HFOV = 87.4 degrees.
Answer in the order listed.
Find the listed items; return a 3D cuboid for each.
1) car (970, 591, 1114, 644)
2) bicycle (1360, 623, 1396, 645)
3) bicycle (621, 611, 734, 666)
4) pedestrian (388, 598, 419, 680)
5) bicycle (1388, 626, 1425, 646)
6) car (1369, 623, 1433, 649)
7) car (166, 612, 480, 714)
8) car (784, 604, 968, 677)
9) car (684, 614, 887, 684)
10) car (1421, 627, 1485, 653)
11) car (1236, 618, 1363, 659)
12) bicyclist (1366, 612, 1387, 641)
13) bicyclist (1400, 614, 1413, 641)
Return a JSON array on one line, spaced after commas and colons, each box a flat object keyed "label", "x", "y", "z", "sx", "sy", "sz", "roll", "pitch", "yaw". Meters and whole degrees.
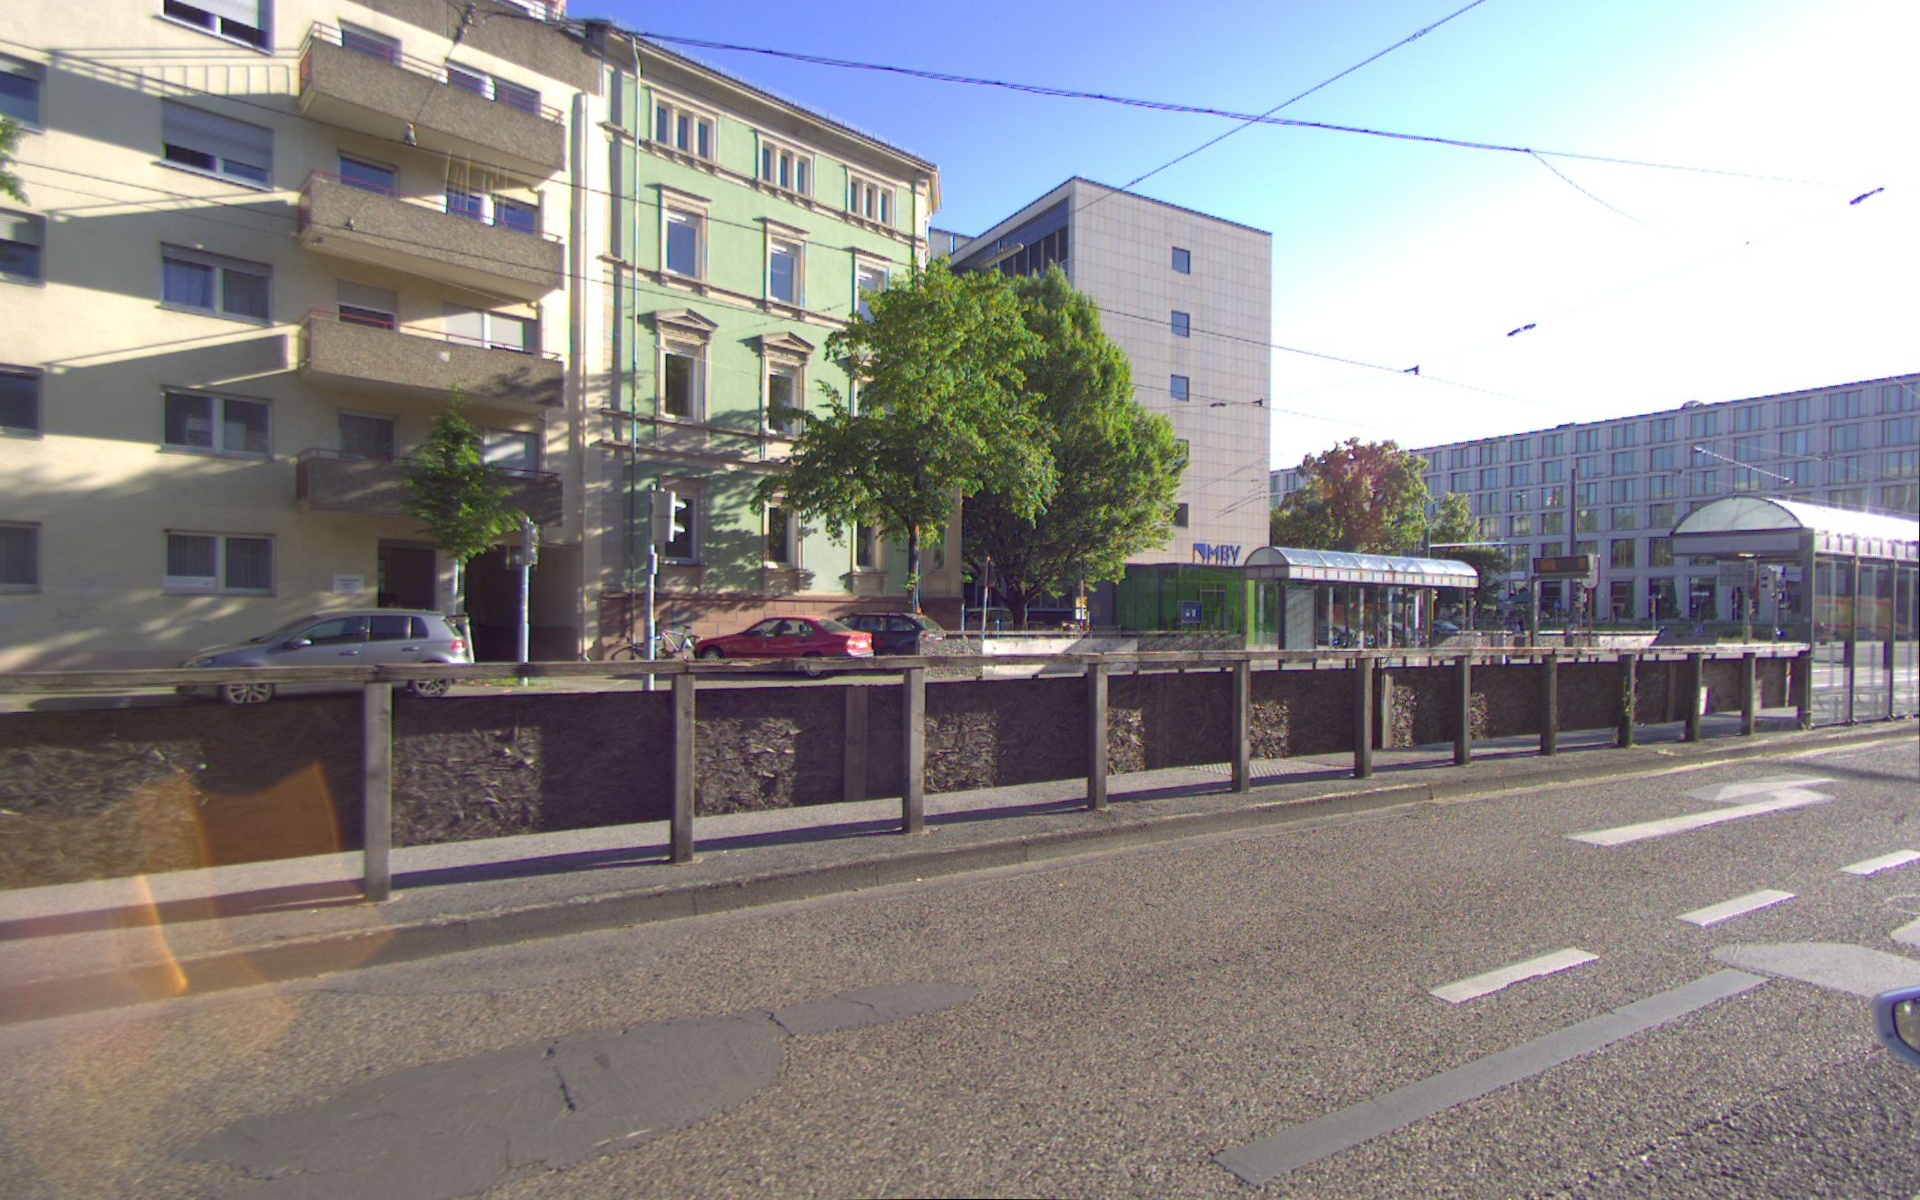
[{"label": "car", "x": 2.679, "y": 0.558, "z": 33.095, "sx": 4.432, "sy": 1.590, "sz": 1.588, "roll": 1, "pitch": 0, "yaw": 28}, {"label": "bicycle", "x": 25.778, "y": 2.109, "z": 61.952, "sx": 0.874, "sy": 1.305, "sz": 2.042, "roll": 0, "pitch": -1, "yaw": -24}, {"label": "bicycle", "x": -7.645, "y": 1.011, "z": 27.344, "sx": 0.709, "sy": 1.416, "sz": 2.991, "roll": 0, "pitch": -1, "yaw": 45}, {"label": "pedestrian", "x": -11.599, "y": 0.804, "z": 20.923, "sx": 0.486, "sy": 1.694, "sz": 0.507, "roll": 0, "pitch": 0, "yaw": -38}, {"label": "bicycle", "x": 26.541, "y": 2.132, "z": 59.720, "sx": 1.897, "sy": 1.137, "sz": 0.788, "roll": -1, "pitch": -1, "yaw": 34}, {"label": "car", "x": 27.996, "y": 2.241, "z": 63.867, "sx": 1.506, "sy": 1.526, "sz": 3.511, "roll": 0, "pitch": 0, "yaw": -32}, {"label": "car", "x": -10.500, "y": 0.953, "z": 16.724, "sx": 4.256, "sy": 1.429, "sz": 1.692, "roll": 1, "pitch": 1, "yaw": -40}, {"label": "car", "x": -2.153, "y": 1.009, "z": 25.979, "sx": 4.424, "sy": 1.663, "sz": 1.591, "roll": 2, "pitch": 0, "yaw": 14}, {"label": "car", "x": -4.182, "y": 1.123, "z": 24.117, "sx": 4.426, "sy": 1.444, "sz": 1.873, "roll": 2, "pitch": 0, "yaw": 19}, {"label": "car", "x": 31.806, "y": 2.532, "z": 64.873, "sx": 1.506, "sy": 1.526, "sz": 3.511, "roll": 0, "pitch": 0, "yaw": -32}, {"label": "car", "x": 13.077, "y": 1.463, "z": 38.757, "sx": 4.432, "sy": 1.368, "sz": 1.588, "roll": 1, "pitch": 0, "yaw": 28}, {"label": "bicyclist", "x": 25.681, "y": 1.628, "z": 61.985, "sx": 0.833, "sy": 1.717, "sz": 0.887, "roll": 0, "pitch": -1, "yaw": -25}, {"label": "bicyclist", "x": 26.557, "y": 1.632, "z": 59.718, "sx": 0.610, "sy": 1.603, "sz": 0.592, "roll": 0, "pitch": -1, "yaw": 36}]
